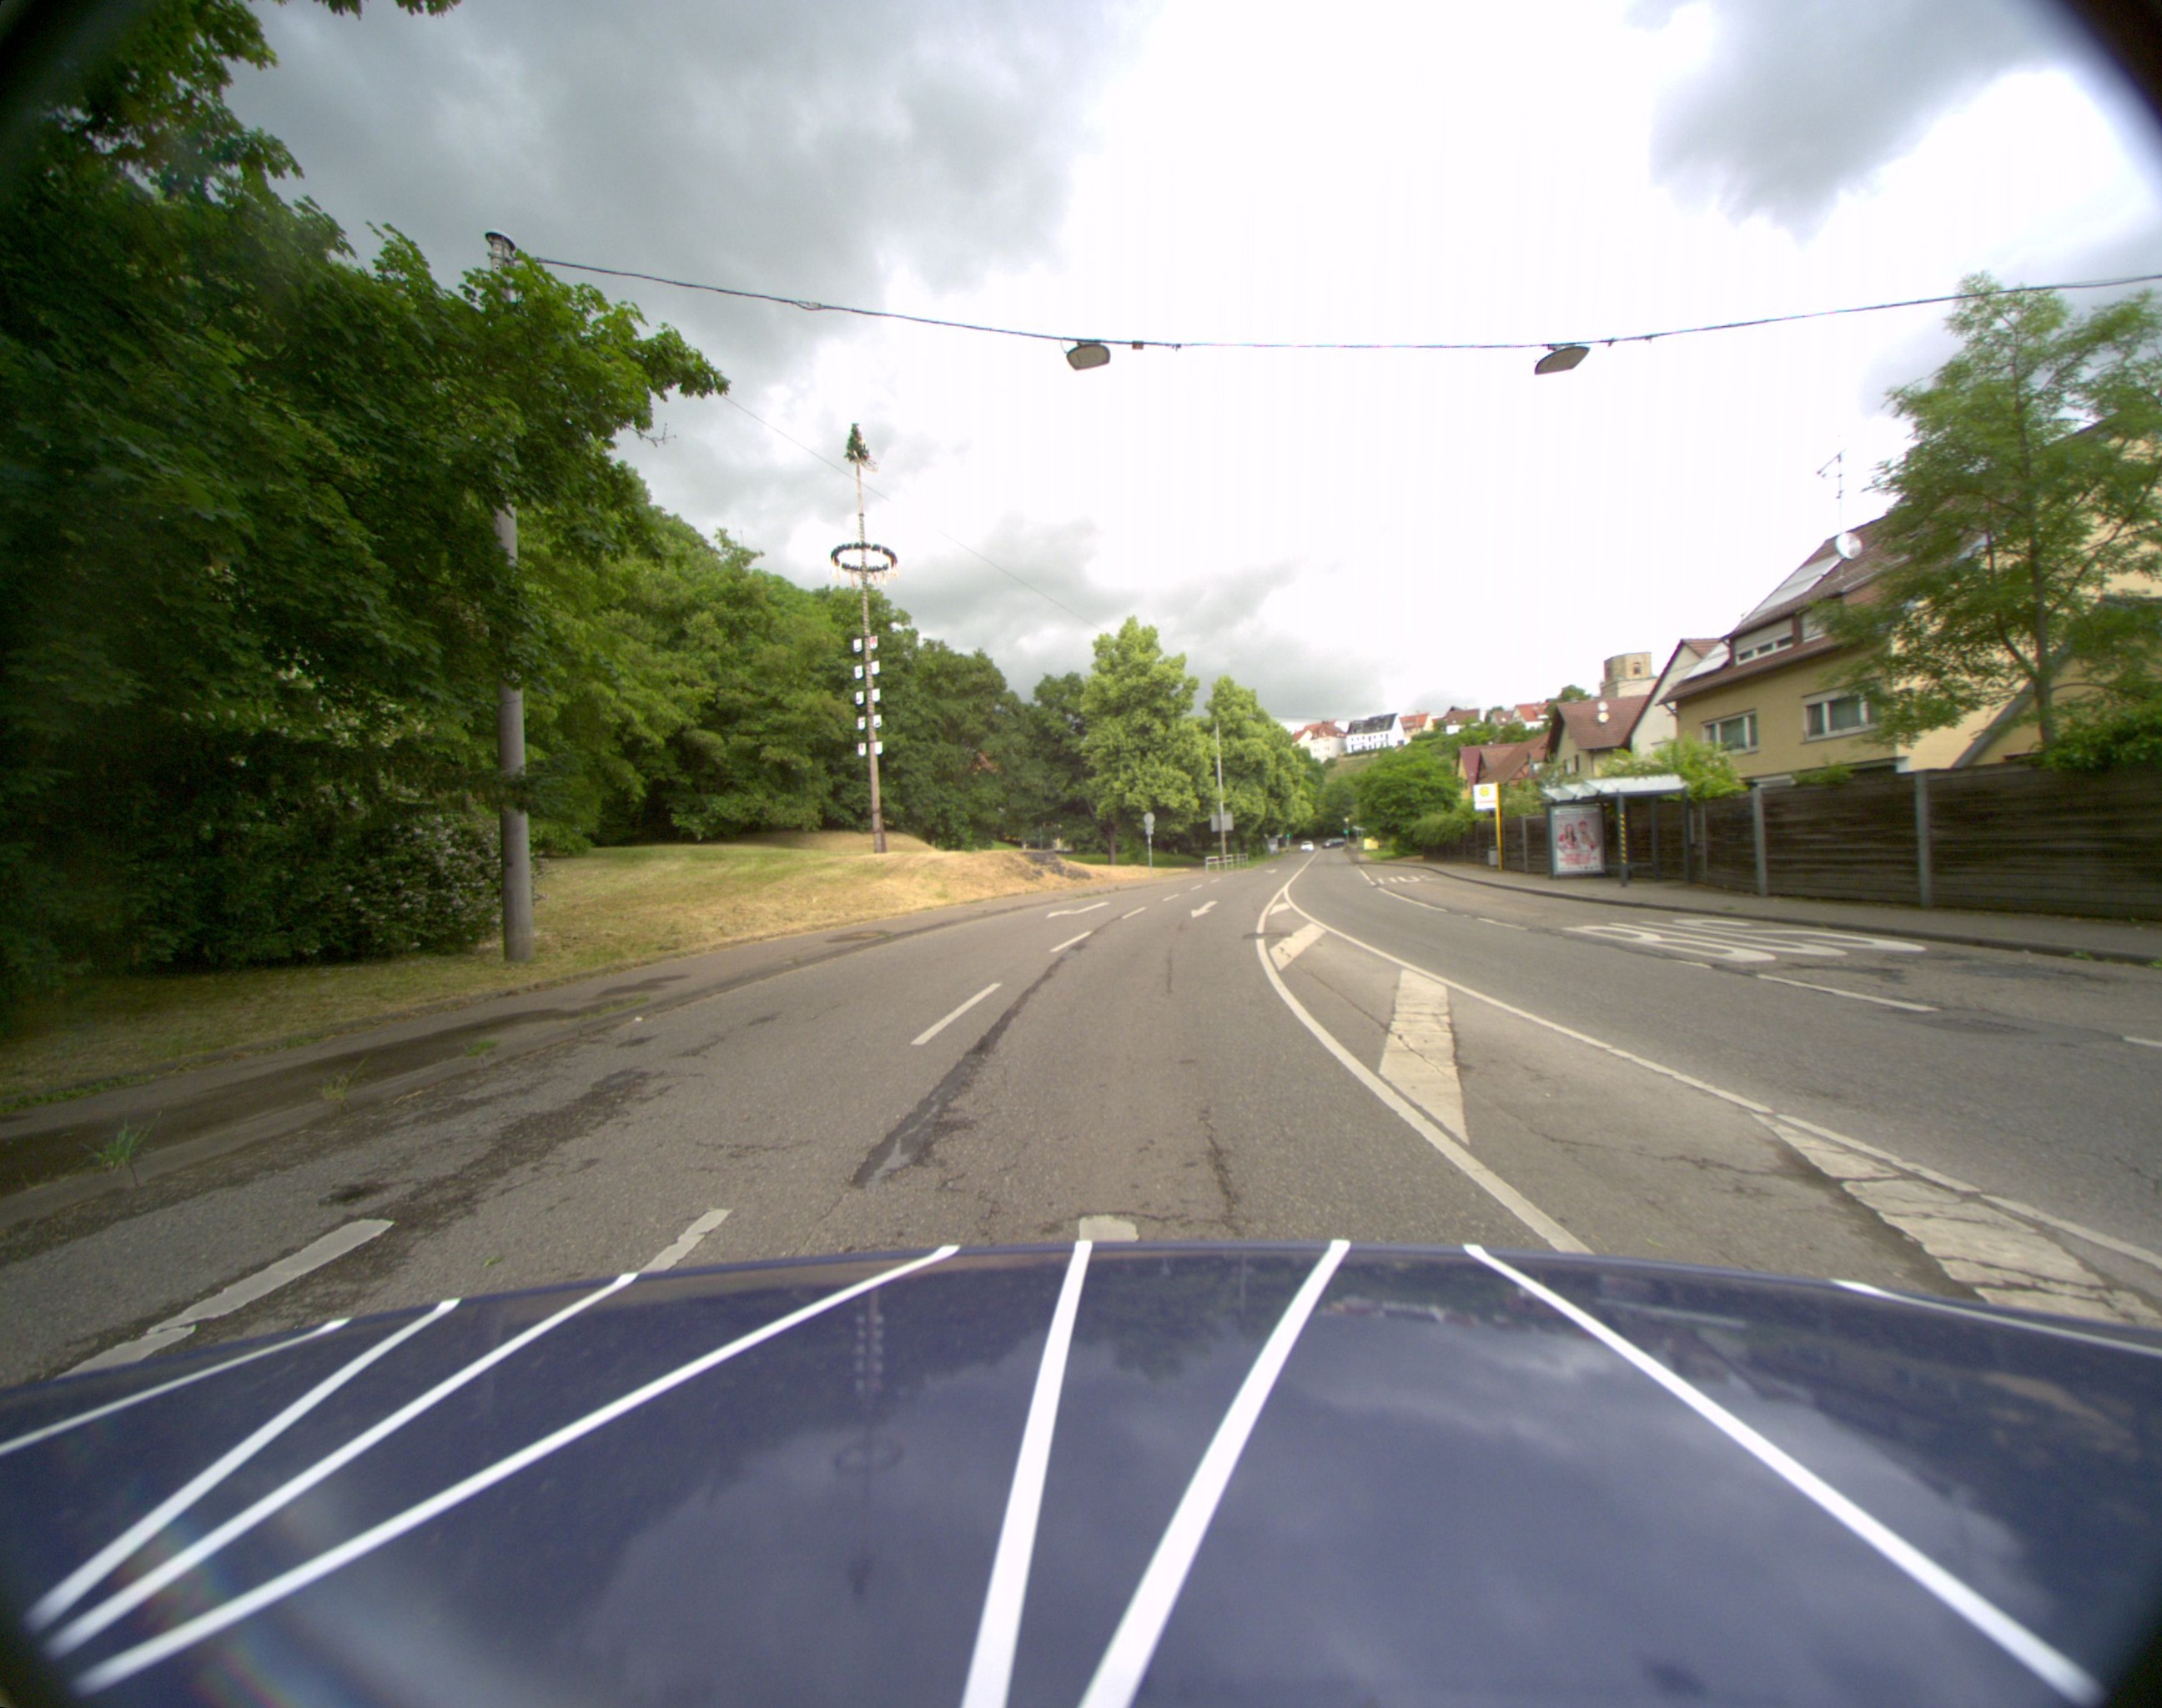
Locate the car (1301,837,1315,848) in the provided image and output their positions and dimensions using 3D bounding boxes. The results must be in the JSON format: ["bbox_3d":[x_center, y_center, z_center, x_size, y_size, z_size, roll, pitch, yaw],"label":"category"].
[{"bbox_3d":[33.438,-1.705,111.845,1.761,1.516,3.687,-2,1,17],"label":"car"}]

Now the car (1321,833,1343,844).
[{"bbox_3d":[41.146,-2.568,124.605,3.690,1.575,1.760,-3,1,-40],"label":"car"}]
